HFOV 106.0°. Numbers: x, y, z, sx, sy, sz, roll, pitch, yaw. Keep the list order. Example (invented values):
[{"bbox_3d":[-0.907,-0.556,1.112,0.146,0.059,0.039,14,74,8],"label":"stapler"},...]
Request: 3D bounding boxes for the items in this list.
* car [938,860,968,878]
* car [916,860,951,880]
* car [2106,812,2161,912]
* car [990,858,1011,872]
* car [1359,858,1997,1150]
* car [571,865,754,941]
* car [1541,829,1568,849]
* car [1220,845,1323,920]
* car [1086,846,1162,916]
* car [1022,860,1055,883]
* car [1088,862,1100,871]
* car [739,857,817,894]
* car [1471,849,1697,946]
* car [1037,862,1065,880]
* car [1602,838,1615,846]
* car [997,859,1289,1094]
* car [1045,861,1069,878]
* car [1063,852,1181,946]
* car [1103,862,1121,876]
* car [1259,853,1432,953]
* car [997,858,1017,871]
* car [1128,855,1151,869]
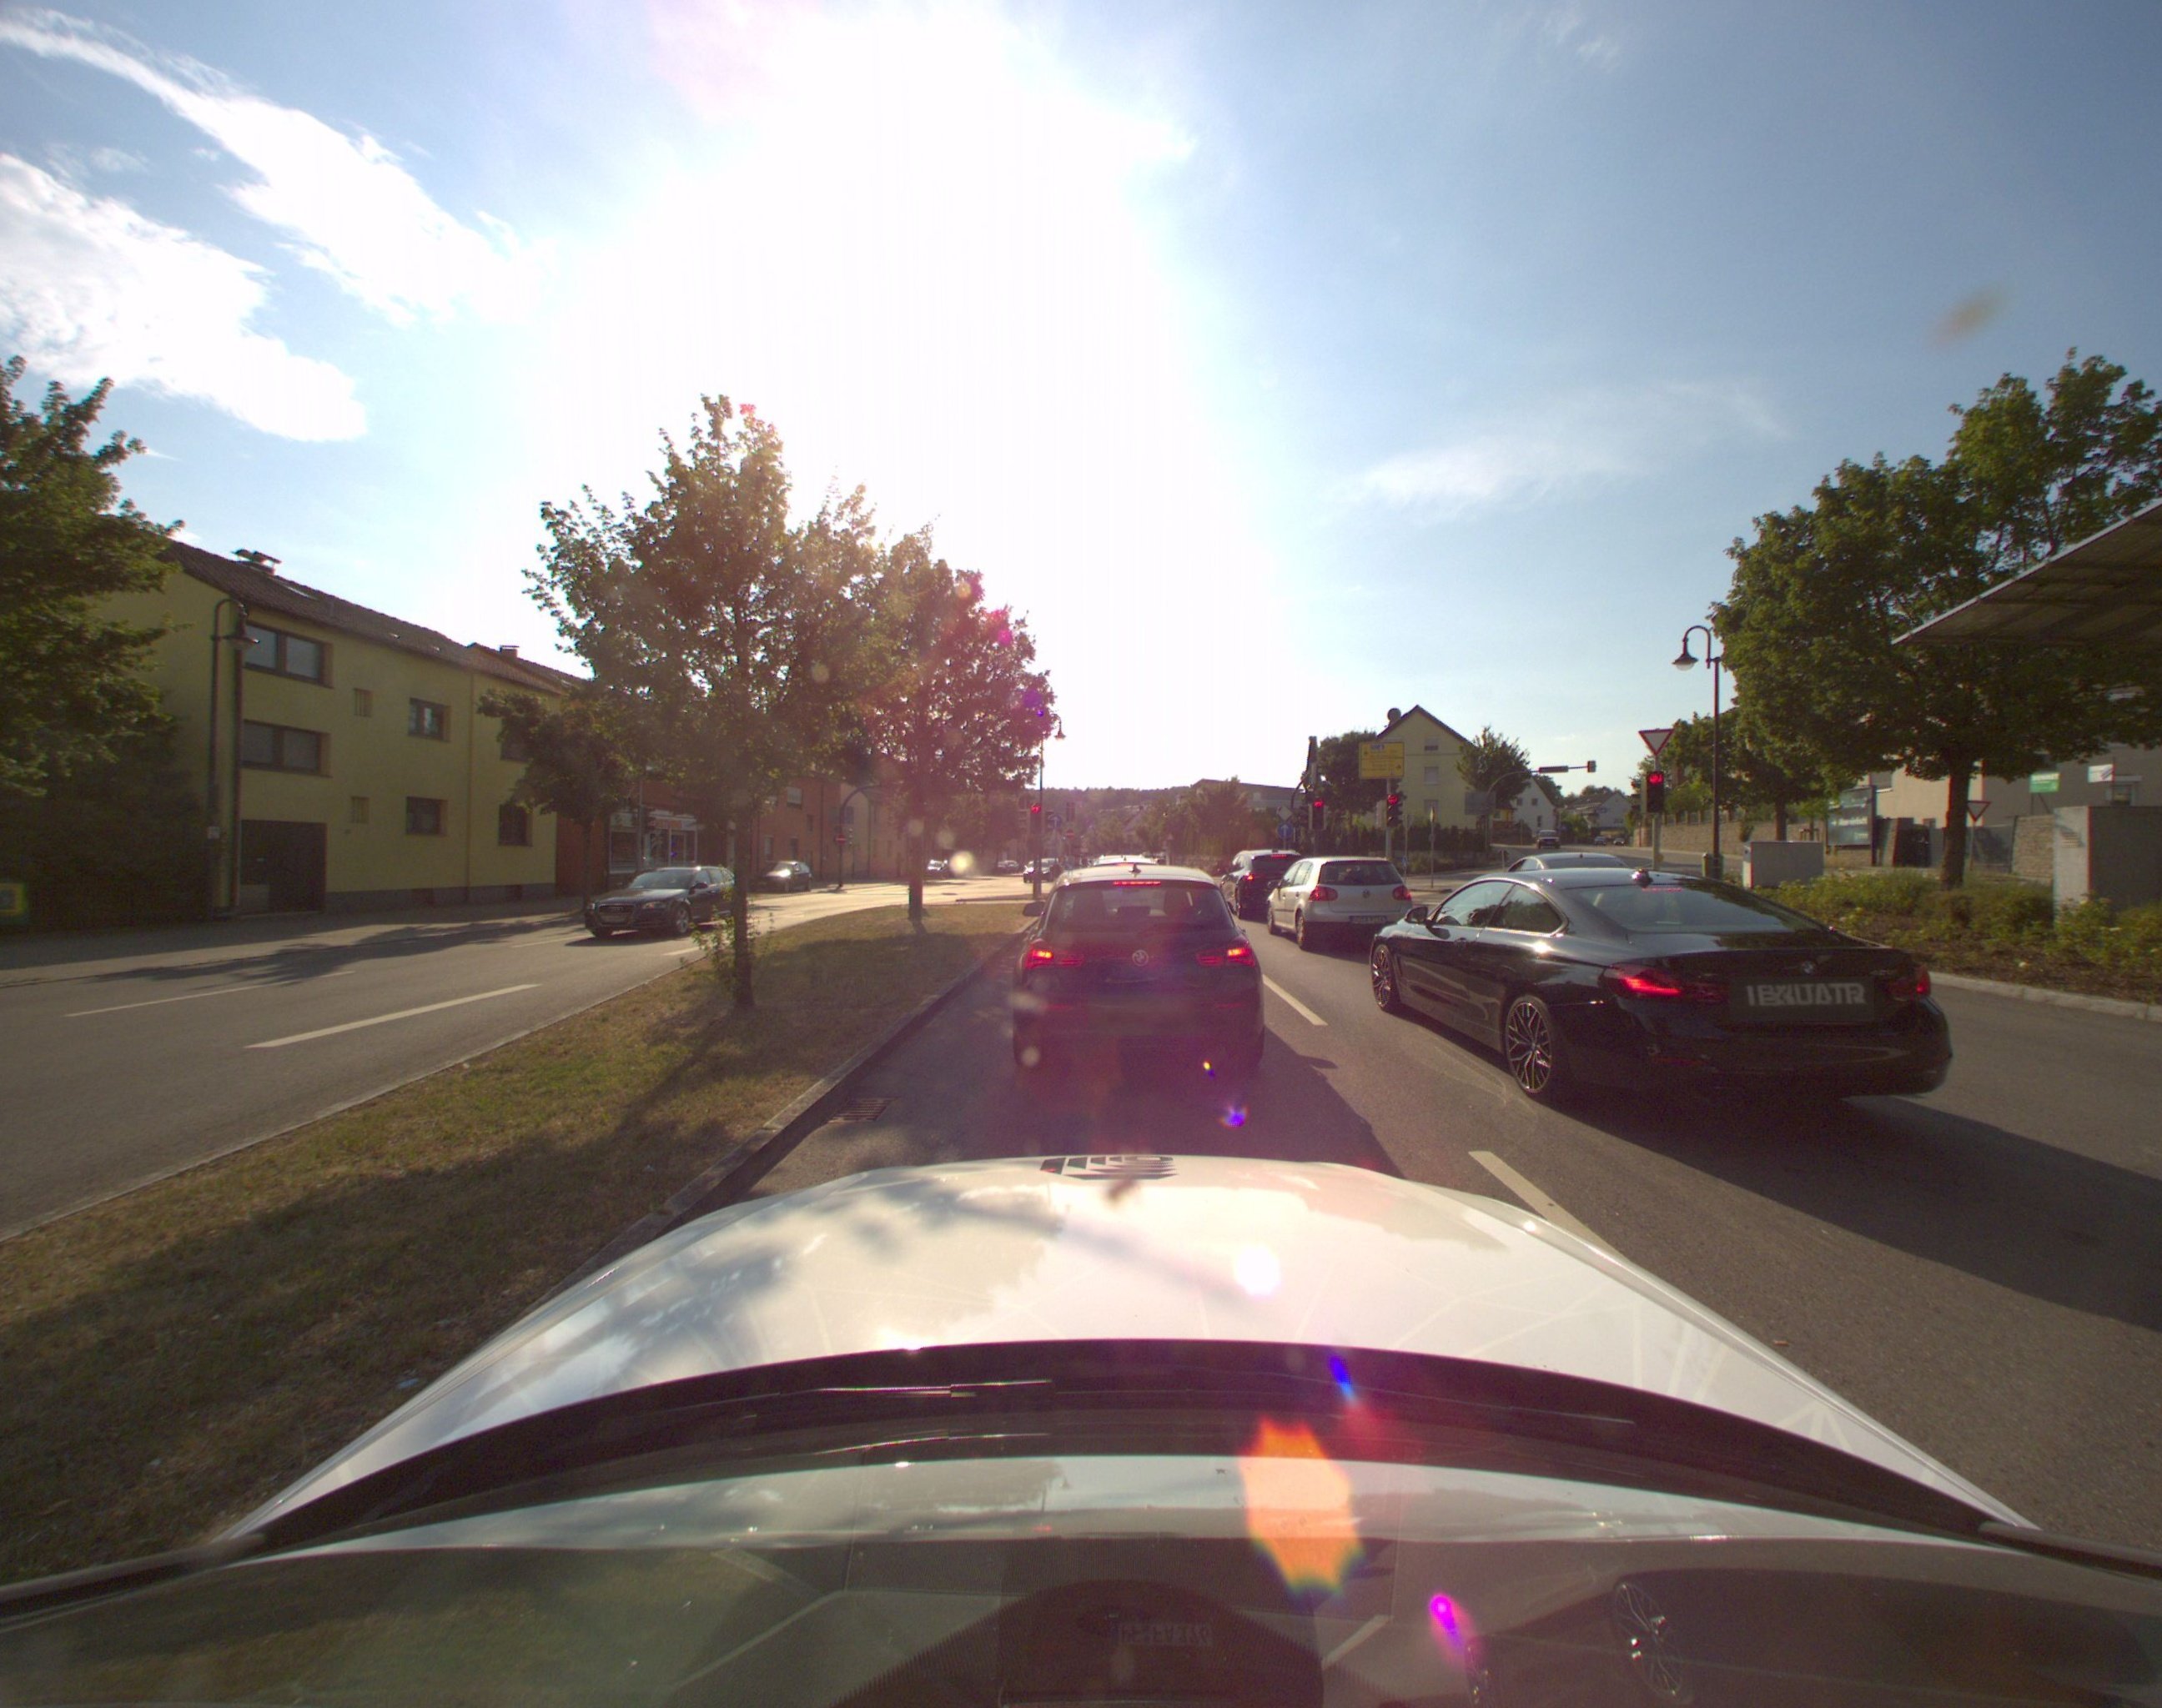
[{"bbox_3d":[-11.594,1.316,73.976,1.916,1.596,4.004,0,0,4],"label":"car"},{"bbox_3d":[-12.228,1.286,67.729,1.916,1.596,4.004,0,0,4],"label":"car"},{"bbox_3d":[19.287,0.117,12.604,3.958,1.608,1.861,0,0,14],"label":"car"},{"bbox_3d":[-9.639,1.323,97.958,1.916,1.596,4.004,0,0,4],"label":"car"},{"bbox_3d":[3.629,0.741,6.133,1.808,1.388,4.351,-1,0,3],"label":"car"},{"bbox_3d":[-8.748,0.952,17.474,1.639,1.386,4.191,0,0,2],"label":"car"},{"bbox_3d":[41.114,-1.340,70.786,1.769,1.506,4.095,0,4,27],"label":"car"},{"bbox_3d":[4.633,0.644,20.420,1.808,1.666,4.351,-1,0,3],"label":"car"},{"bbox_3d":[1.151,0.652,21.511,1.808,1.641,4.245,-1,0,3],"label":"car"},{"bbox_3d":[-2.854,1.169,55.410,1.759,1.458,4.004,0,0,4],"label":"car"},{"bbox_3d":[2.341,2.166,145.613,1.917,1.596,4.002,0,0,2],"label":"car"},{"bbox_3d":[-14.158,0.965,38.303,1.835,1.552,4.005,2,0,5],"label":"car"},{"bbox_3d":[8.590,0.656,14.440,1.672,1.435,4.599,-1,0,7],"label":"car"},{"bbox_3d":[-2.278,1.291,62.780,1.685,1.353,4.004,0,0,4],"label":"car"},{"bbox_3d":[86.537,-1.998,133.673,1.694,1.244,4.025,0,1,31],"label":"car"},{"bbox_3d":[0.506,0.768,7.187,1.783,1.414,4.351,-1,0,3],"label":"car"},{"bbox_3d":[-1.996,1.298,69.676,1.685,1.353,4.004,0,0,4],"label":"car"},{"bbox_3d":[0.764,0.699,14.711,1.808,1.451,4.245,-1,0,3],"label":"car"},{"bbox_3d":[4.083,1.919,107.416,1.887,1.702,4.518,-2,0,-4],"label":"car"},{"bbox_3d":[4.329,0.726,14.061,1.808,1.446,4.351,-1,0,3],"label":"car"},{"bbox_3d":[-9.333,1.328,103.460,1.916,1.596,4.004,0,0,4],"label":"car"},{"bbox_3d":[6.150,0.825,86.422,1.858,1.485,4.652,0,0,-4],"label":"car"}]
